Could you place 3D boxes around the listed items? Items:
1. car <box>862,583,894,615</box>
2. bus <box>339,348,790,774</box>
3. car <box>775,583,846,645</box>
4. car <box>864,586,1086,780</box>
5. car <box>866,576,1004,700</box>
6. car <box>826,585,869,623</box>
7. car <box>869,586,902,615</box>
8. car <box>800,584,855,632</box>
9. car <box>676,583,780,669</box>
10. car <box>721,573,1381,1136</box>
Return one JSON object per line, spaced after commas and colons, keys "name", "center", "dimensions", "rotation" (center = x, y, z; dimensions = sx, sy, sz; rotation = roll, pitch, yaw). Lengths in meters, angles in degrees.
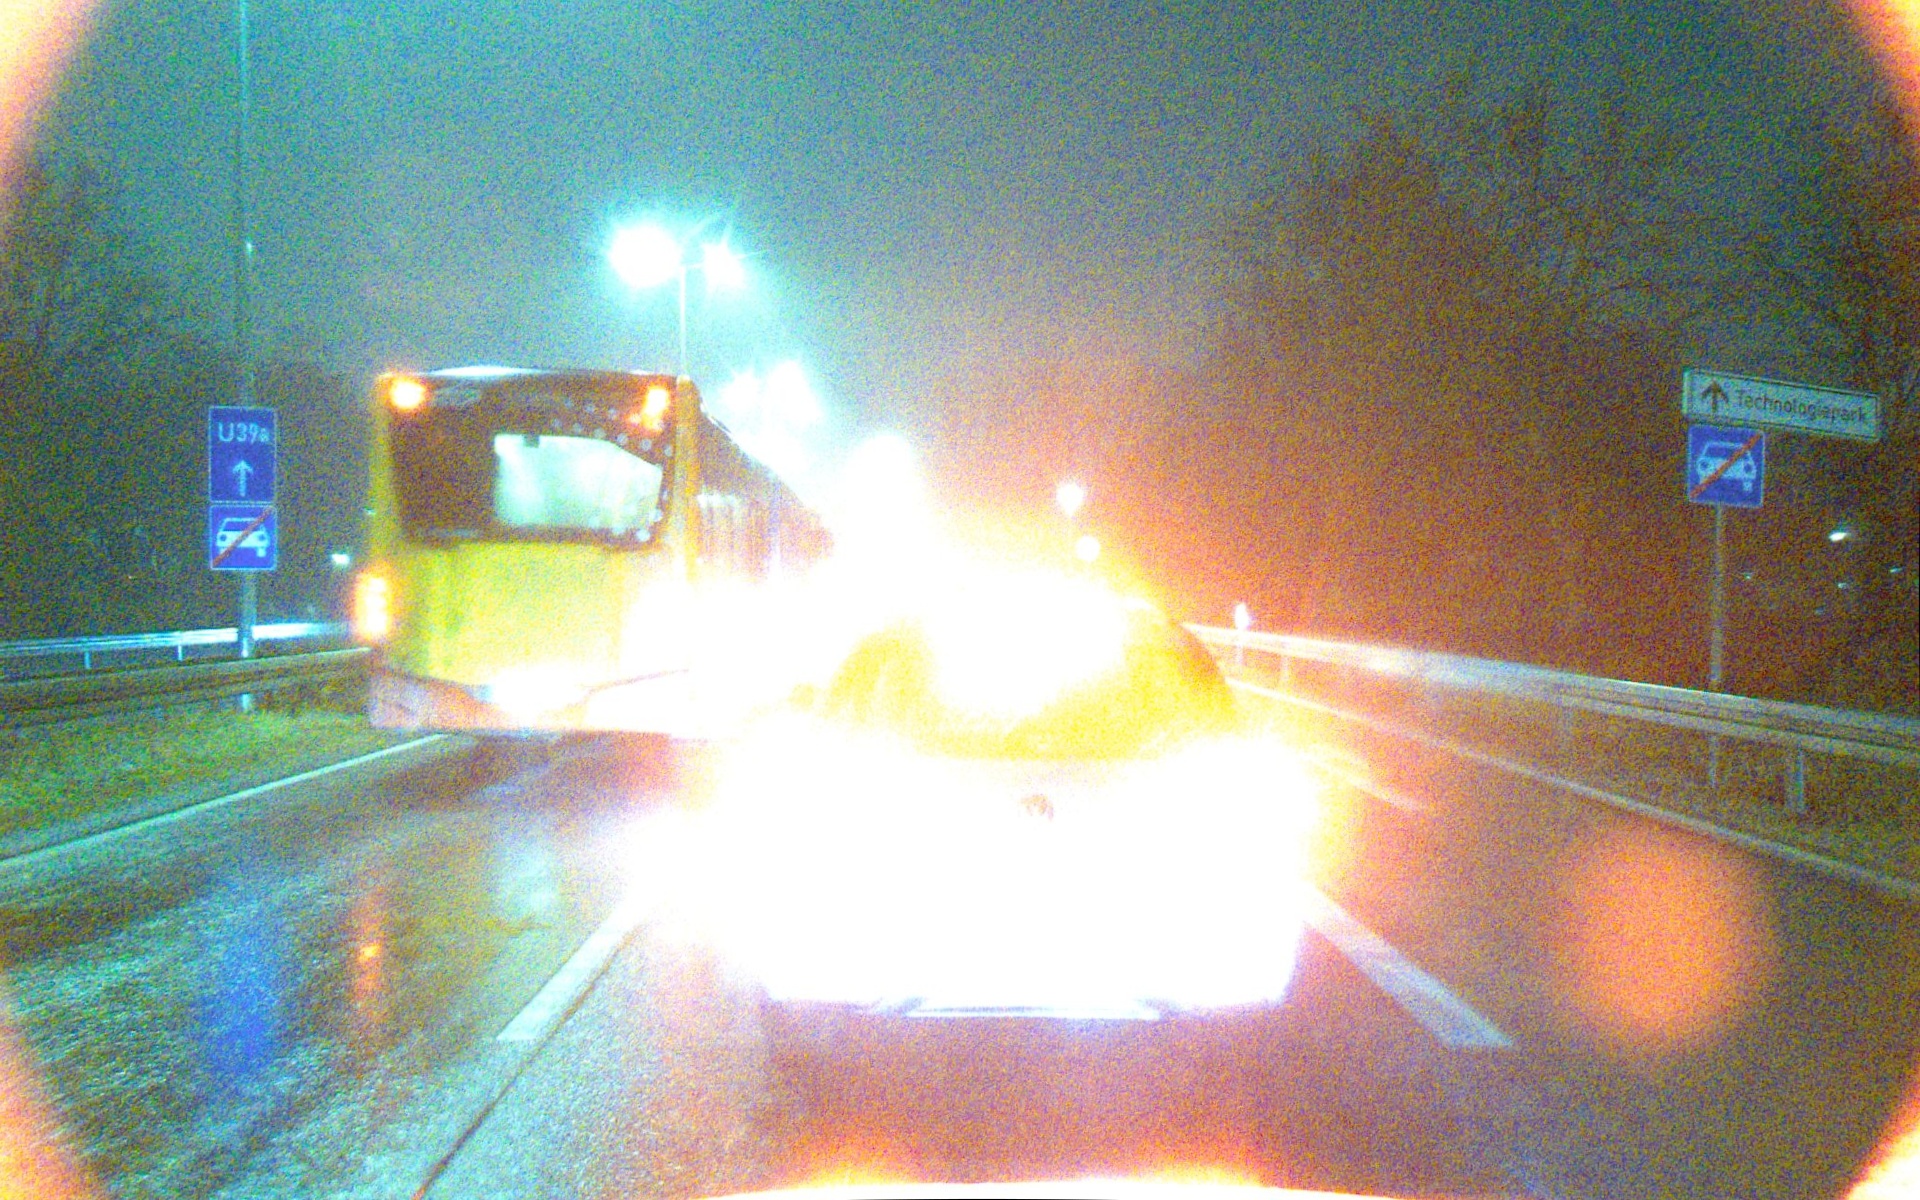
{"name": "car", "center": [-5.485, -0.067, 110.721], "dimensions": [1.953, 2.049, 3.999], "rotation": [1, 0, -1]}
{"name": "bus", "center": [-3.310, -0.307, 16.365], "dimensions": [2.759, 3.077, 8.682], "rotation": [0, 0, -3]}
{"name": "car", "center": [-3.911, 0.340, 43.751], "dimensions": [1.744, 1.570, 3.872], "rotation": [1, 0, -3]}
{"name": "car", "center": [0.008, 0.625, 15.090], "dimensions": [1.697, 1.474, 4.722], "rotation": [1, 0, -3]}
{"name": "car", "center": [-0.431, 0.477, 23.270], "dimensions": [1.705, 1.592, 3.773], "rotation": [1, 0, -4]}
{"name": "car", "center": [-4.817, 0.136, 70.687], "dimensions": [1.744, 1.570, 3.871], "rotation": [1, 0, -4]}
{"name": "car", "center": [-4.195, 0.005, 93.811], "dimensions": [1.743, 1.570, 3.874], "rotation": [1, 0, -1]}
{"name": "car", "center": [-4.459, 0.256, 56.152], "dimensions": [1.744, 1.570, 3.873], "rotation": [1, 0, -3]}
{"name": "car", "center": [-4.477, 0.459, 32.389], "dimensions": [1.744, 1.570, 3.871], "rotation": [1, 0, -4]}
{"name": "car", "center": [0.334, 0.671, 6.783], "dimensions": [1.784, 1.510, 4.569], "rotation": [0, 0, 2]}
